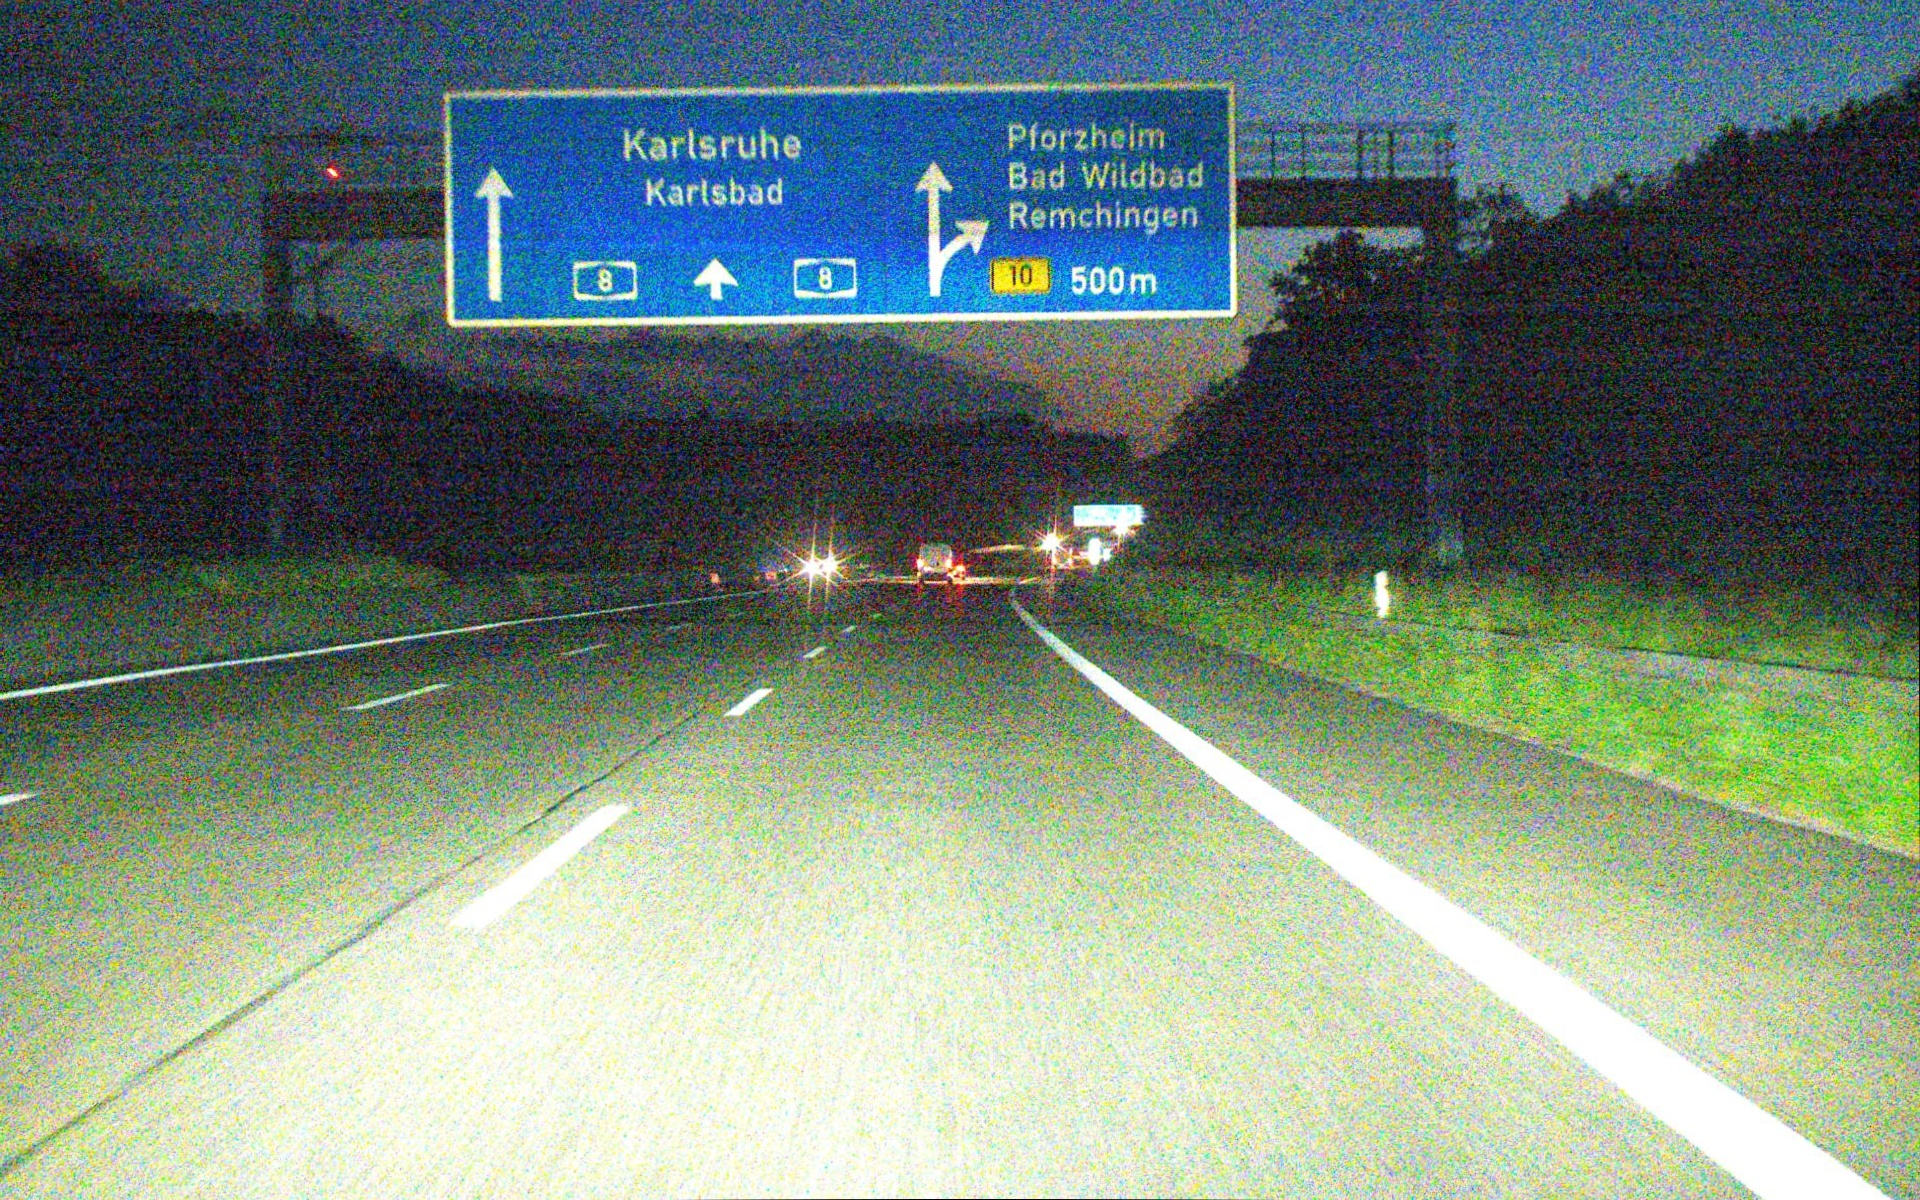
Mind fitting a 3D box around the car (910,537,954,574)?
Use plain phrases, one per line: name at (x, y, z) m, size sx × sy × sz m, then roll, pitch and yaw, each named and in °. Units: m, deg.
car at (-1.751, -2.788, 217.536) m, size 2.511 × 2.306 × 4.970 m, roll 0°, pitch 1°, yaw 2°
